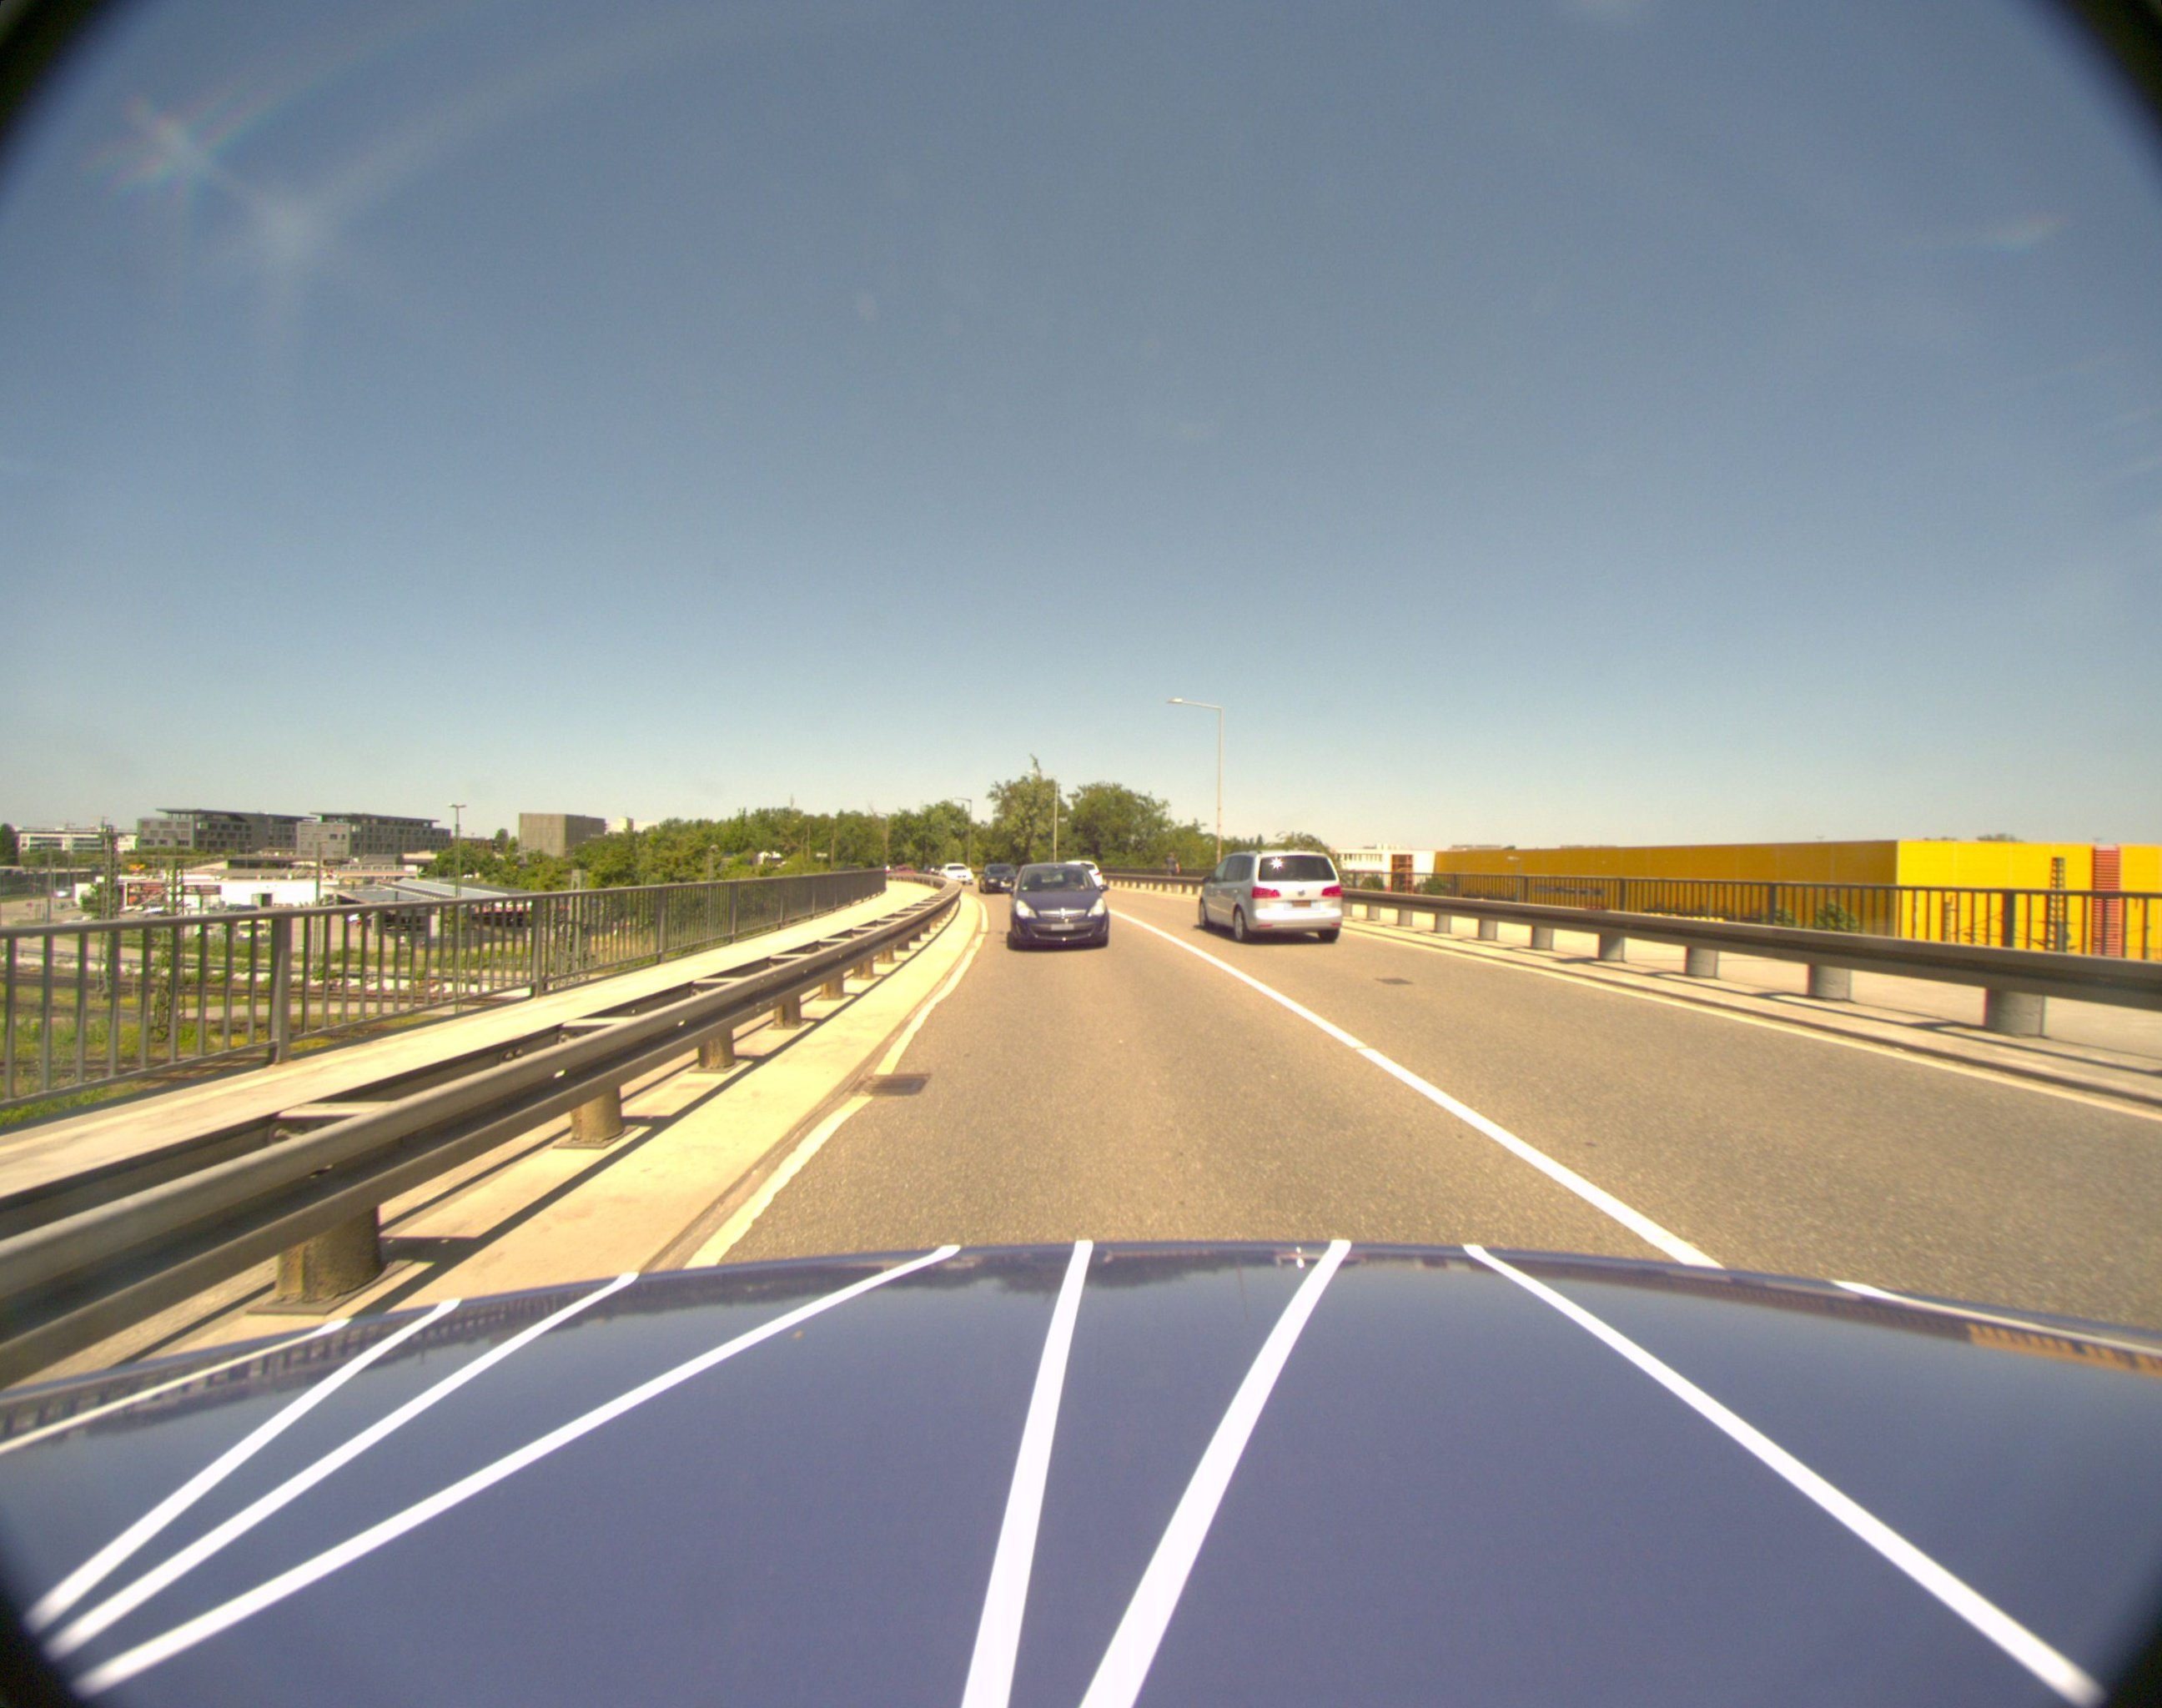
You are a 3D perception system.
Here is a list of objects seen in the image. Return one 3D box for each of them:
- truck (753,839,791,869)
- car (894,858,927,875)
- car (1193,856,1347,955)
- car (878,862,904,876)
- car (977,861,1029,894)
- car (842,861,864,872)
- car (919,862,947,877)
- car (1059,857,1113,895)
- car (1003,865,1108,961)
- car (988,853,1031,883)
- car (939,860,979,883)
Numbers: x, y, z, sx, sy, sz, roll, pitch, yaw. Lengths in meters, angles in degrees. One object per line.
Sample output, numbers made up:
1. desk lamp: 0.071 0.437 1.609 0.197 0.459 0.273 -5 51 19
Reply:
1. truck: -45.337 0.018 111.345 2.701 4.204 6.821 -4 1 -42
2. car: -15.527 1.095 69.078 1.798 1.446 4.513 0 0 -27
3. car: 3.421 0.846 14.527 1.699 1.598 3.998 -1 0 -4
4. car: -21.448 1.691 85.508 1.540 1.421 3.990 -1 -1 -34
5. car: -3.872 1.109 37.108 1.796 1.446 4.517 -2 0 -14
6. car: -29.418 1.639 97.936 1.540 1.421 3.990 -1 -1 -36
7. car: -14.510 1.541 74.422 1.540 1.421 3.991 -1 -1 -28
8. car: 0.165 0.957 34.490 1.700 1.598 3.996 -1 0 -11
9. car: -0.461 0.980 14.263 1.645 1.431 3.999 -2 0 -2
10. car: -5.279 1.012 55.631 2.002 2.002 3.993 -2 0 -22
11. car: -8.339 1.158 51.652 1.797 1.446 4.515 -2 0 -21
